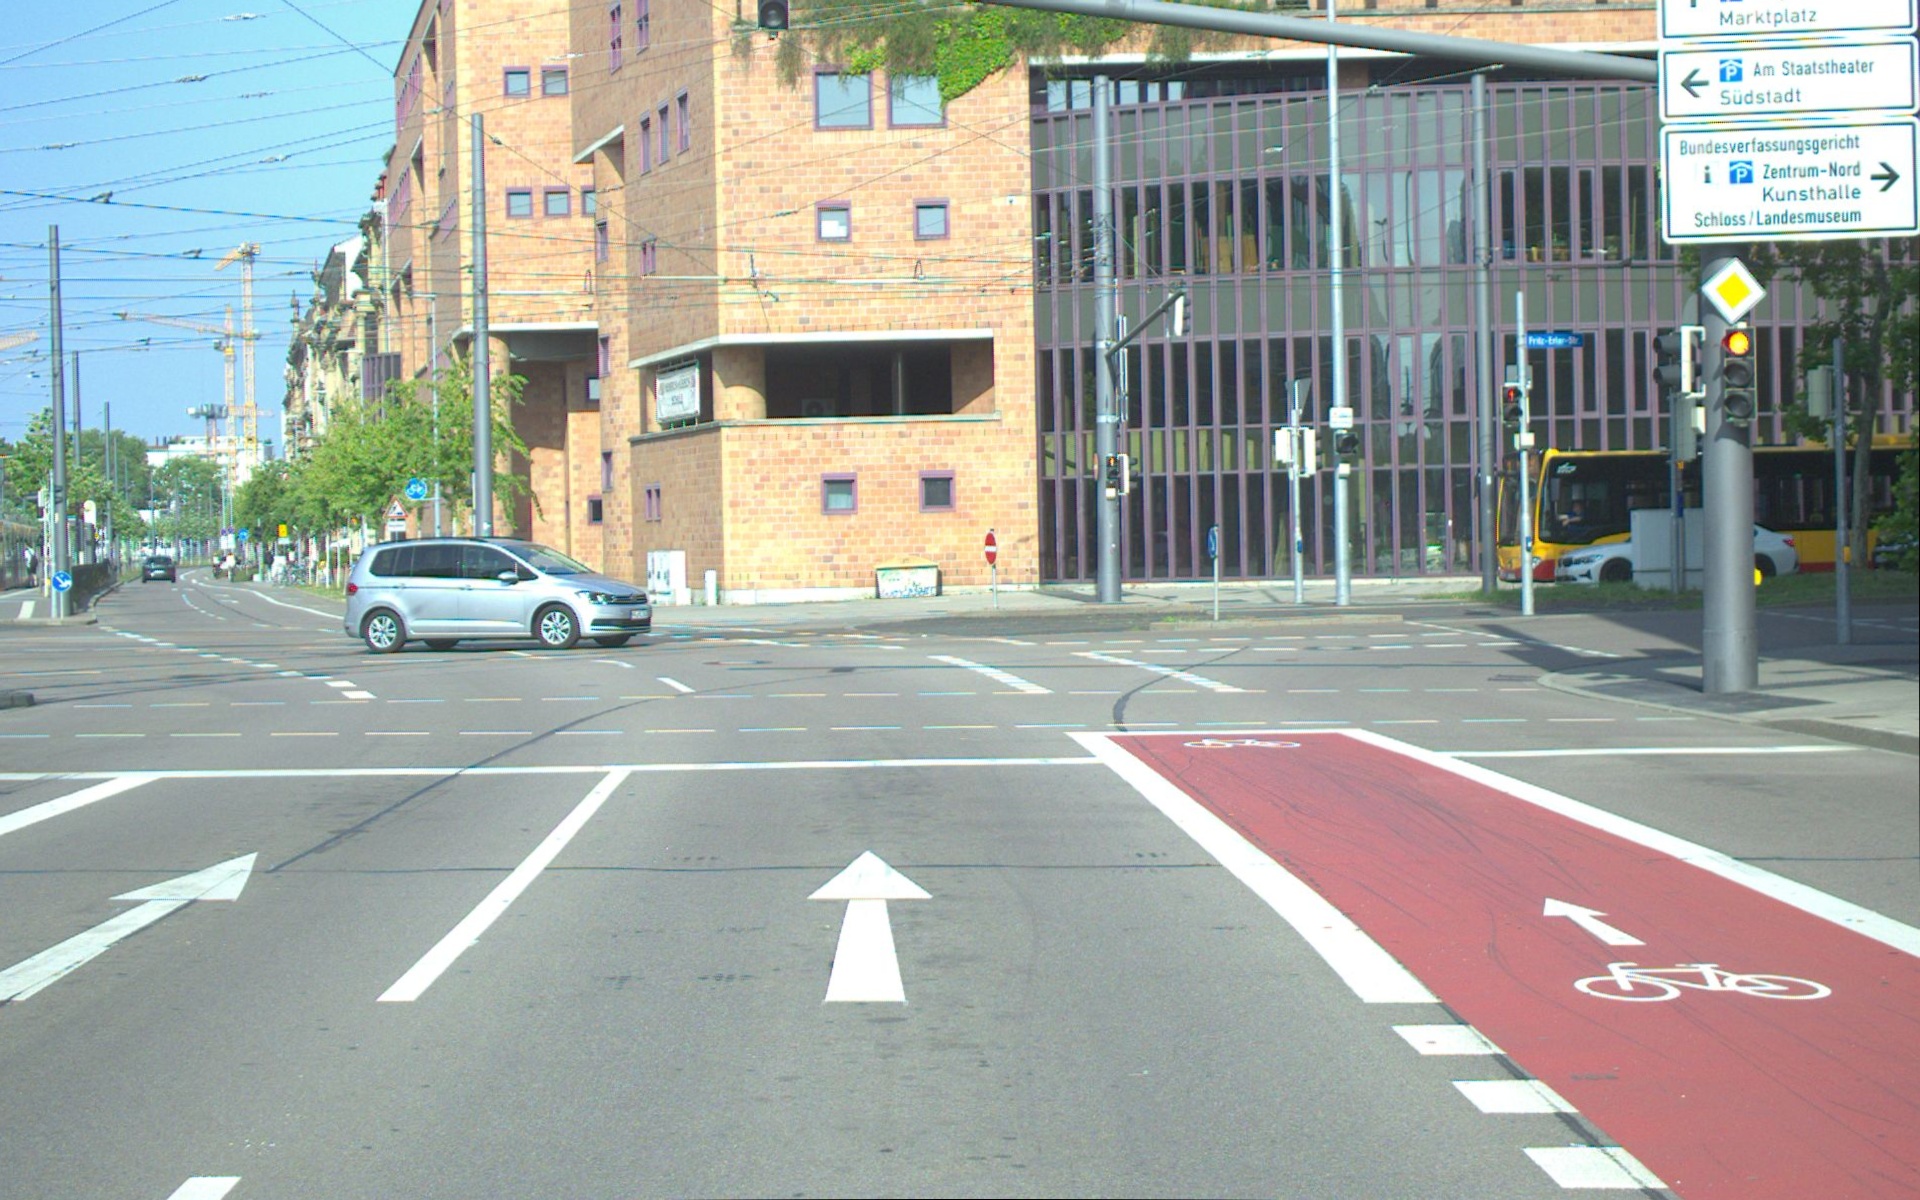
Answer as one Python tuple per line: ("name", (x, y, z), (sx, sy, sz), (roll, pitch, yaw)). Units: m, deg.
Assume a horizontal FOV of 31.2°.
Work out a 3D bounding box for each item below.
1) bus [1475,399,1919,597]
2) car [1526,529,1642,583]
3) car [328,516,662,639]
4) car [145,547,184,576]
("bus", (19.573, -2.159, 71.125), (17.605, 3.797, 2.866), (-1, -1, -11))
("car", (11.915, -0.835, 65.681), (1.951, 0.955, 1.094), (1, -1, -5))
("car", (-6.581, -0.323, 48.631), (4.382, 1.629, 1.688), (0, 3, 22))
("car", (-45.101, -2.189, 194.813), (2.073, 1.537, 4.415), (-1, 0, -14))
